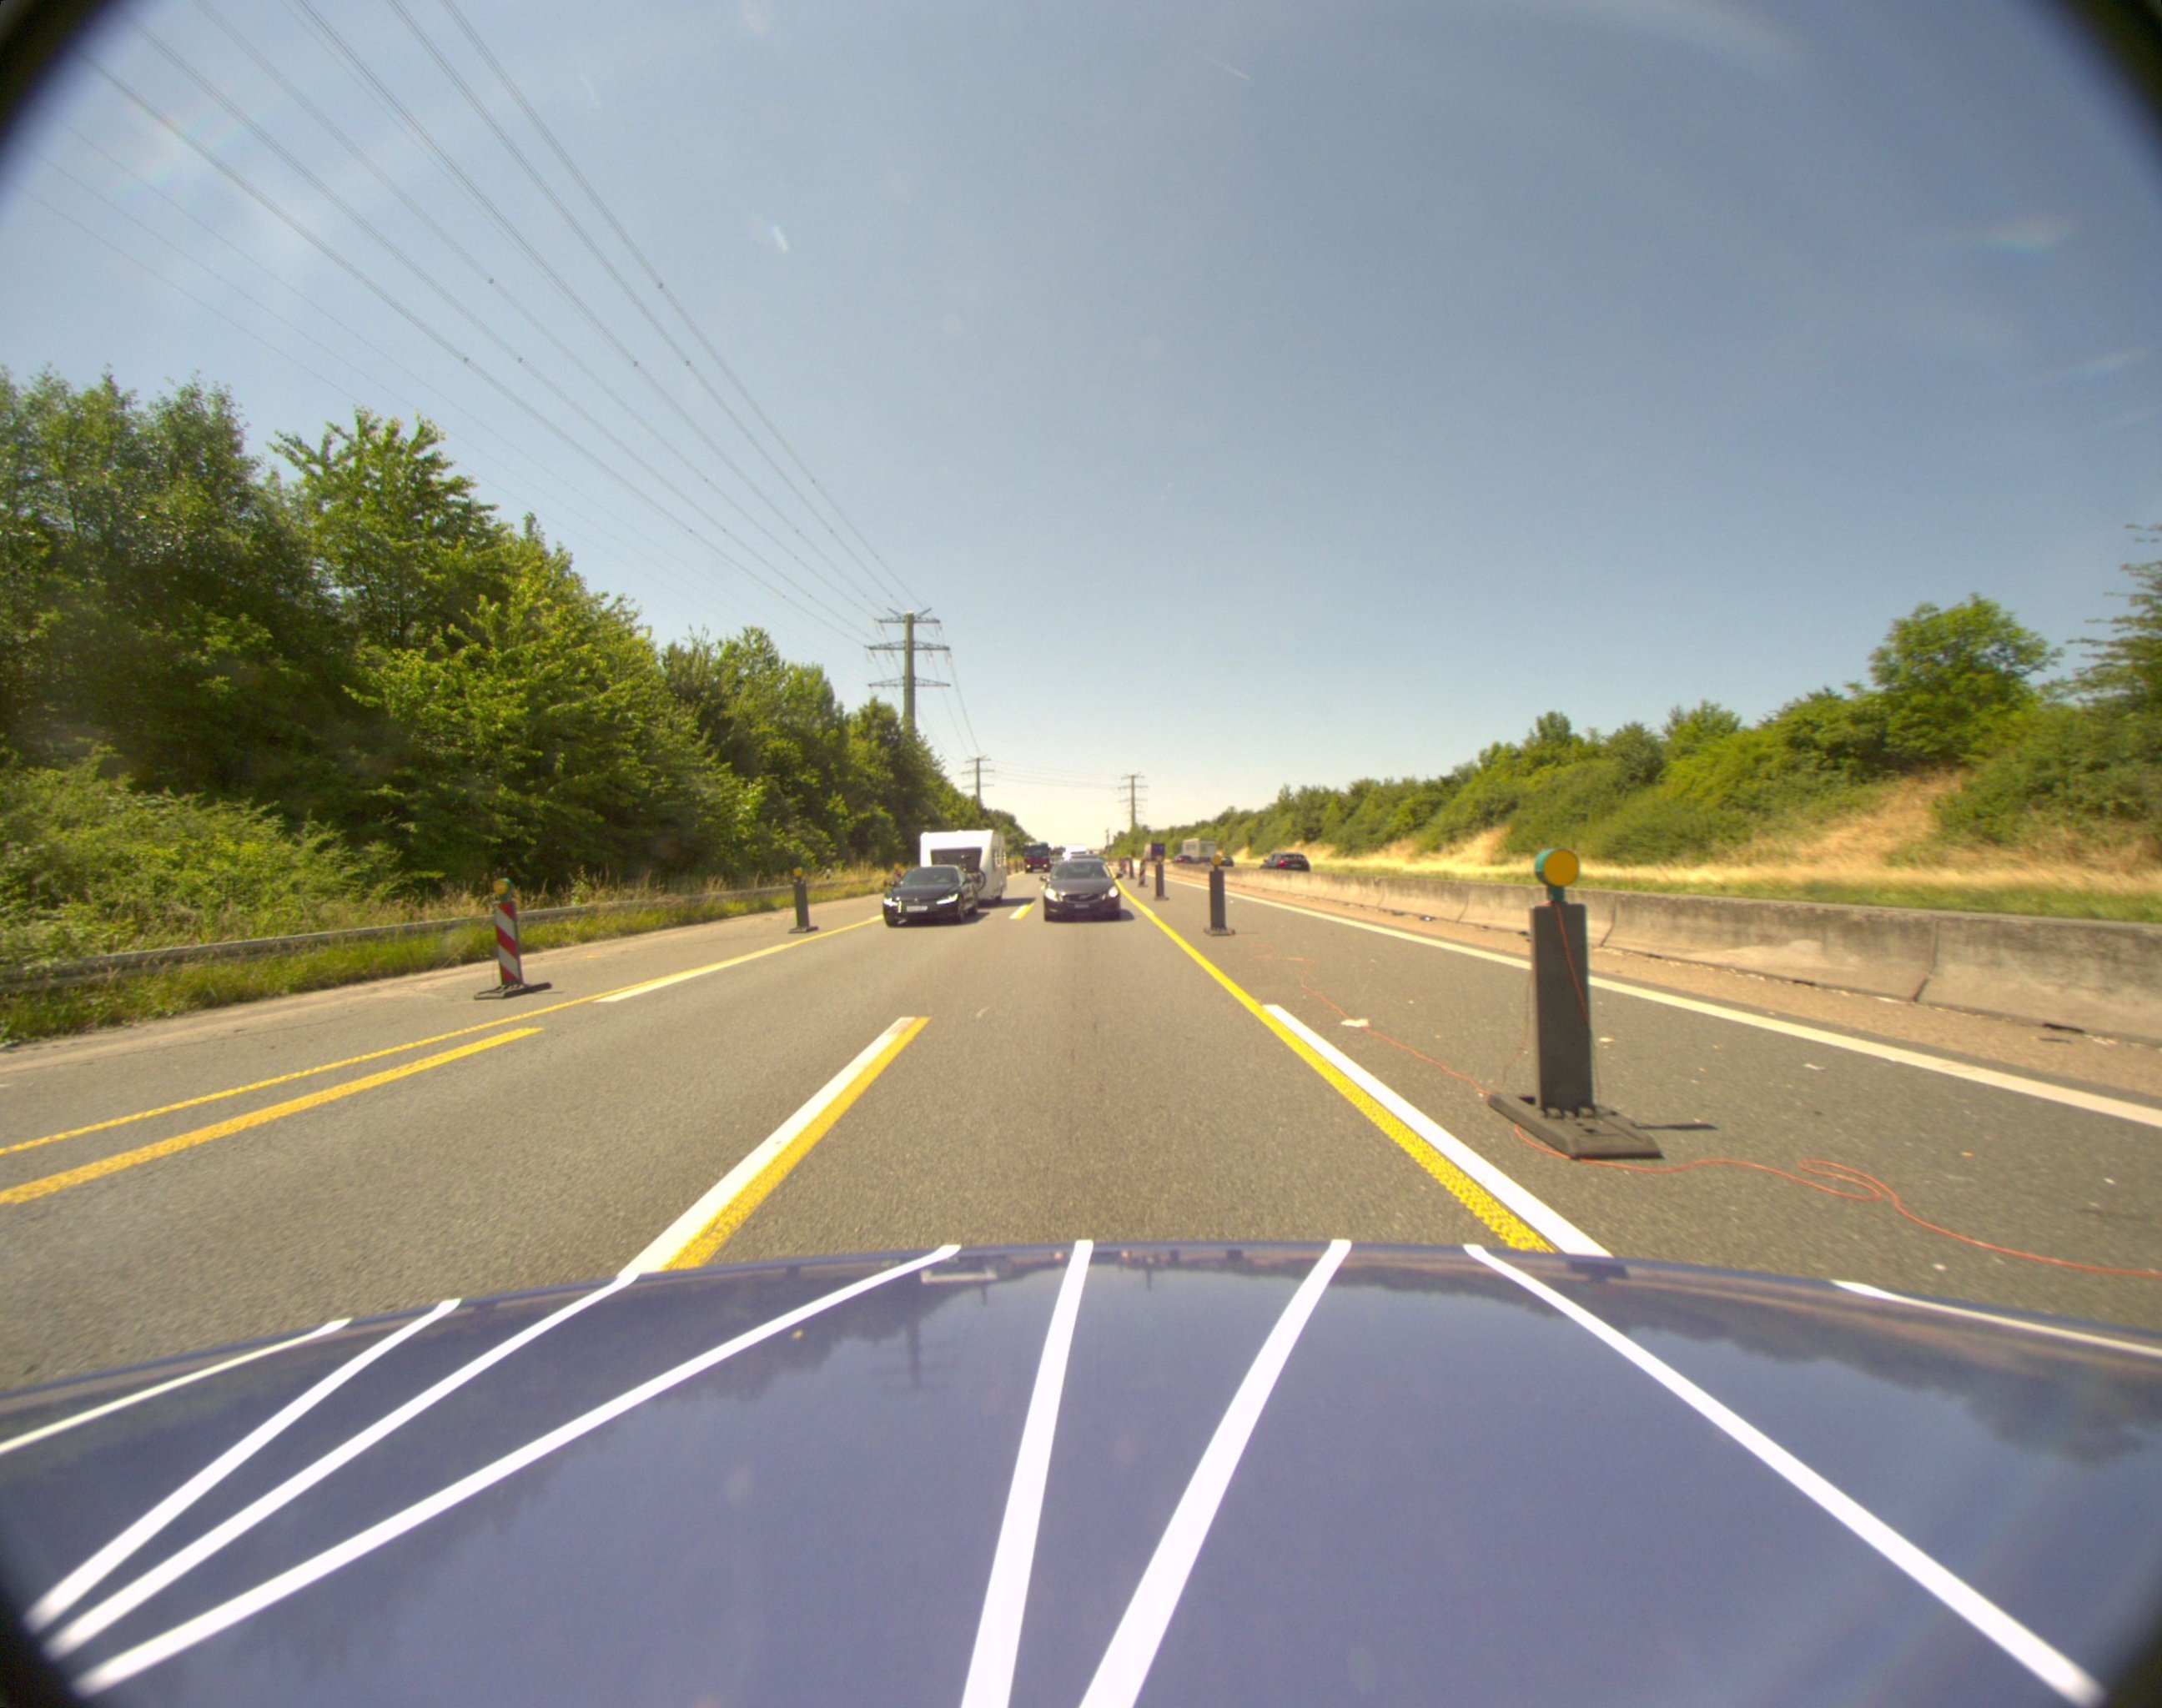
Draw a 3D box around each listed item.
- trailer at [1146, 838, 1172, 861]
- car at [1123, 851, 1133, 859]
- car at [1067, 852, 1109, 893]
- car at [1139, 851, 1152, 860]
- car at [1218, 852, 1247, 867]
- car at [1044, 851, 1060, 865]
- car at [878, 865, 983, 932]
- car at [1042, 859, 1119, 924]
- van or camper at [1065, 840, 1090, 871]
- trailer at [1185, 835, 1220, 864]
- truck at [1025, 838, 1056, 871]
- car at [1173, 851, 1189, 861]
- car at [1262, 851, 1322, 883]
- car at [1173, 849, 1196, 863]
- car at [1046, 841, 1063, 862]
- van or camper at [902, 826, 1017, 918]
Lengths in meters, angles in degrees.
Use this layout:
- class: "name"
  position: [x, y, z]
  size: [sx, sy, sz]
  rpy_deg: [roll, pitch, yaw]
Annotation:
- class: "trailer"
  position: [14.694, -0.771, 143.716]
  size: [3.168, 4.155, 13.682]
  rpy_deg: [0, 0, -1]
- class: "car"
  position: [9.666, 0.215, 156.533]
  size: [1.847, 1.704, 4.395]
  rpy_deg: [0, 0, -1]
- class: "car"
  position: [0.359, 0.798, 34.541]
  size: [1.675, 1.619, 4.691]
  rpy_deg: [-4, 0, 2]
- class: "car"
  position: [10.299, 0.267, 121.090]
  size: [1.620, 1.433, 3.989]
  rpy_deg: [0, 0, -1]
- class: "car"
  position: [15.559, 0.538, 78.438]
  size: [1.999, 1.452, 4.586]
  rpy_deg: [0, 0, -1]
- class: "car"
  position: [-4.013, 0.534, 105.685]
  size: [1.850, 1.810, 3.925]
  rpy_deg: [-3, 0, 1]
- class: "car"
  position: [-3.745, 1.057, 19.649]
  size: [1.800, 1.399, 4.209]
  rpy_deg: [-2, 0, 0]
- class: "car"
  position: [0.061, 0.909, 20.045]
  size: [1.798, 1.433, 4.000]
  rpy_deg: [-2, 0, 2]
- class: "van or camper"
  position: [-0.244, 0.123, 65.521]
  size: [1.998, 2.604, 5.629]
  rpy_deg: [0, 0, 1]
- class: "trailer"
  position: [18.563, -0.667, 116.753]
  size: [2.961, 4.038, 13.635]
  rpy_deg: [1, 0, -1]
- class: "truck"
  position: [-4.149, 0.091, 79.361]
  size: [2.431, 3.122, 7.648]
  rpy_deg: [-4, 0, 2]
- class: "car"
  position: [14.345, 0.224, 109.249]
  size: [1.507, 1.388, 4.088]
  rpy_deg: [-1, 0, -3]
- class: "car"
  position: [11.370, 0.656, 41.237]
  size: [1.998, 1.591, 4.582]
  rpy_deg: [0, 0, 0]
- class: "car"
  position: [11.065, 0.227, 81.773]
  size: [1.853, 1.452, 4.488]
  rpy_deg: [0, 0, 0]
- class: "car"
  position: [-4.922, -0.530, 143.454]
  size: [2.397, 3.779, 10.273]
  rpy_deg: [-3, 0, 1]
- class: "van or camper"
  position: [-3.837, 0.493, 25.959]
  size: [2.432, 2.549, 8.417]
  rpy_deg: [-2, 0, 0]
